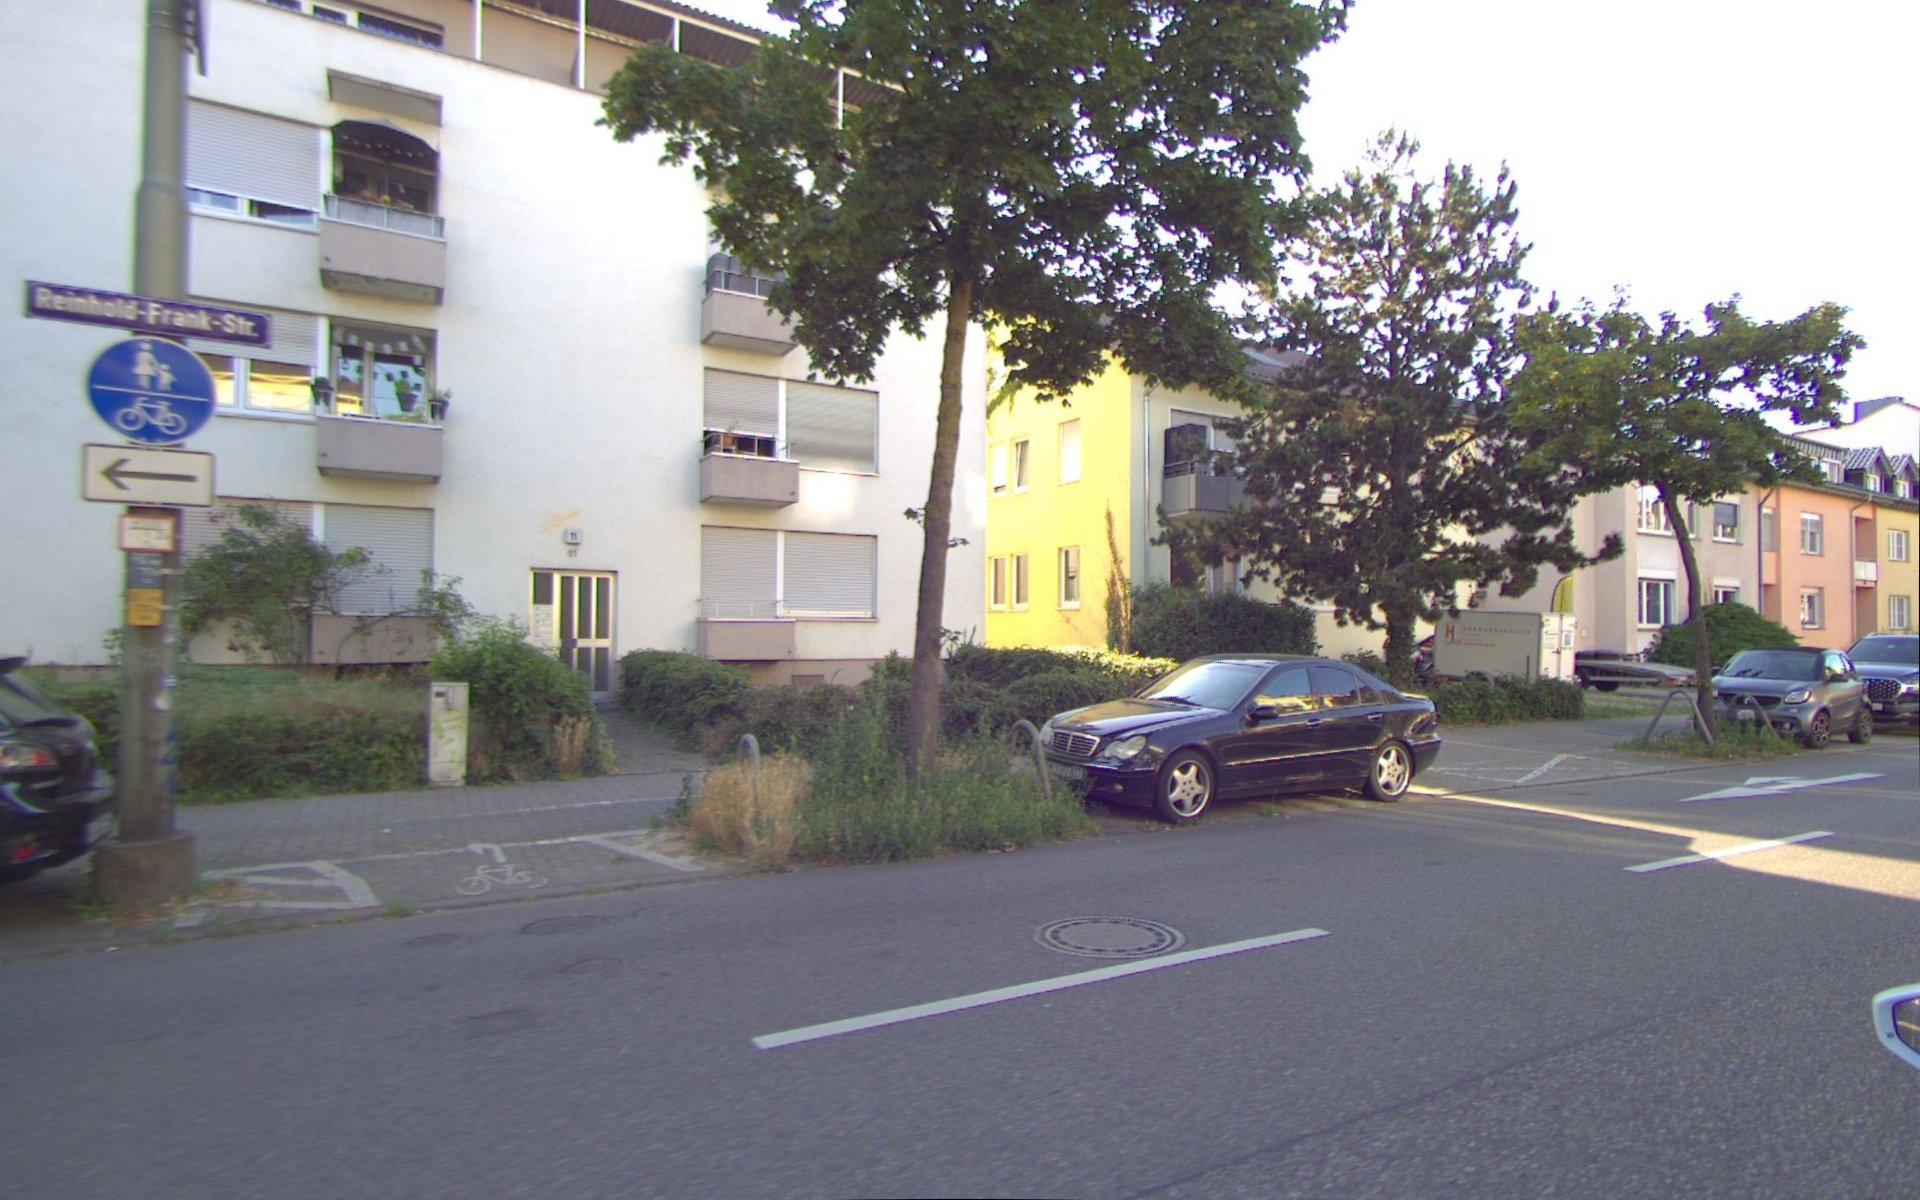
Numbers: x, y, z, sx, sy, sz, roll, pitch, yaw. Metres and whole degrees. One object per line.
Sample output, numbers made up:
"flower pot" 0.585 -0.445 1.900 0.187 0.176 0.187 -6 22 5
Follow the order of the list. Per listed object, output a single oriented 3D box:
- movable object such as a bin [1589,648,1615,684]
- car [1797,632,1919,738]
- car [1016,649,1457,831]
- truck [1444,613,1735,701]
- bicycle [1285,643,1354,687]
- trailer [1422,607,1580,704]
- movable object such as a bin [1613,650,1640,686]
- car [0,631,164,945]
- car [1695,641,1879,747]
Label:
"movable object such as a bin" 20.413 2.088 31.926 0.579 1.104 0.486 2 -2 -30
"car" 18.143 1.553 19.231 4.673 1.802 1.877 2 -2 -32
"car" 2.822 1.217 9.900 4.393 1.425 1.629 2 -2 -31
"truck" 17.722 1.551 28.839 2.249 2.214 6.864 2 -2 -29
"bicycle" 9.328 1.672 26.007 2.022 1.078 0.516 2 -2 -31
"trailer" 12.171 1.223 22.699 1.535 2.040 2.758 2 -2 -32
"movable object such as a bin" 20.876 2.122 31.452 0.579 1.104 0.486 2 -2 -30
"car" -6.553 0.884 4.824 3.950 1.505 1.850 2 -2 -28
"car" 13.704 1.493 16.635 2.719 1.576 1.565 2 -2 -31
